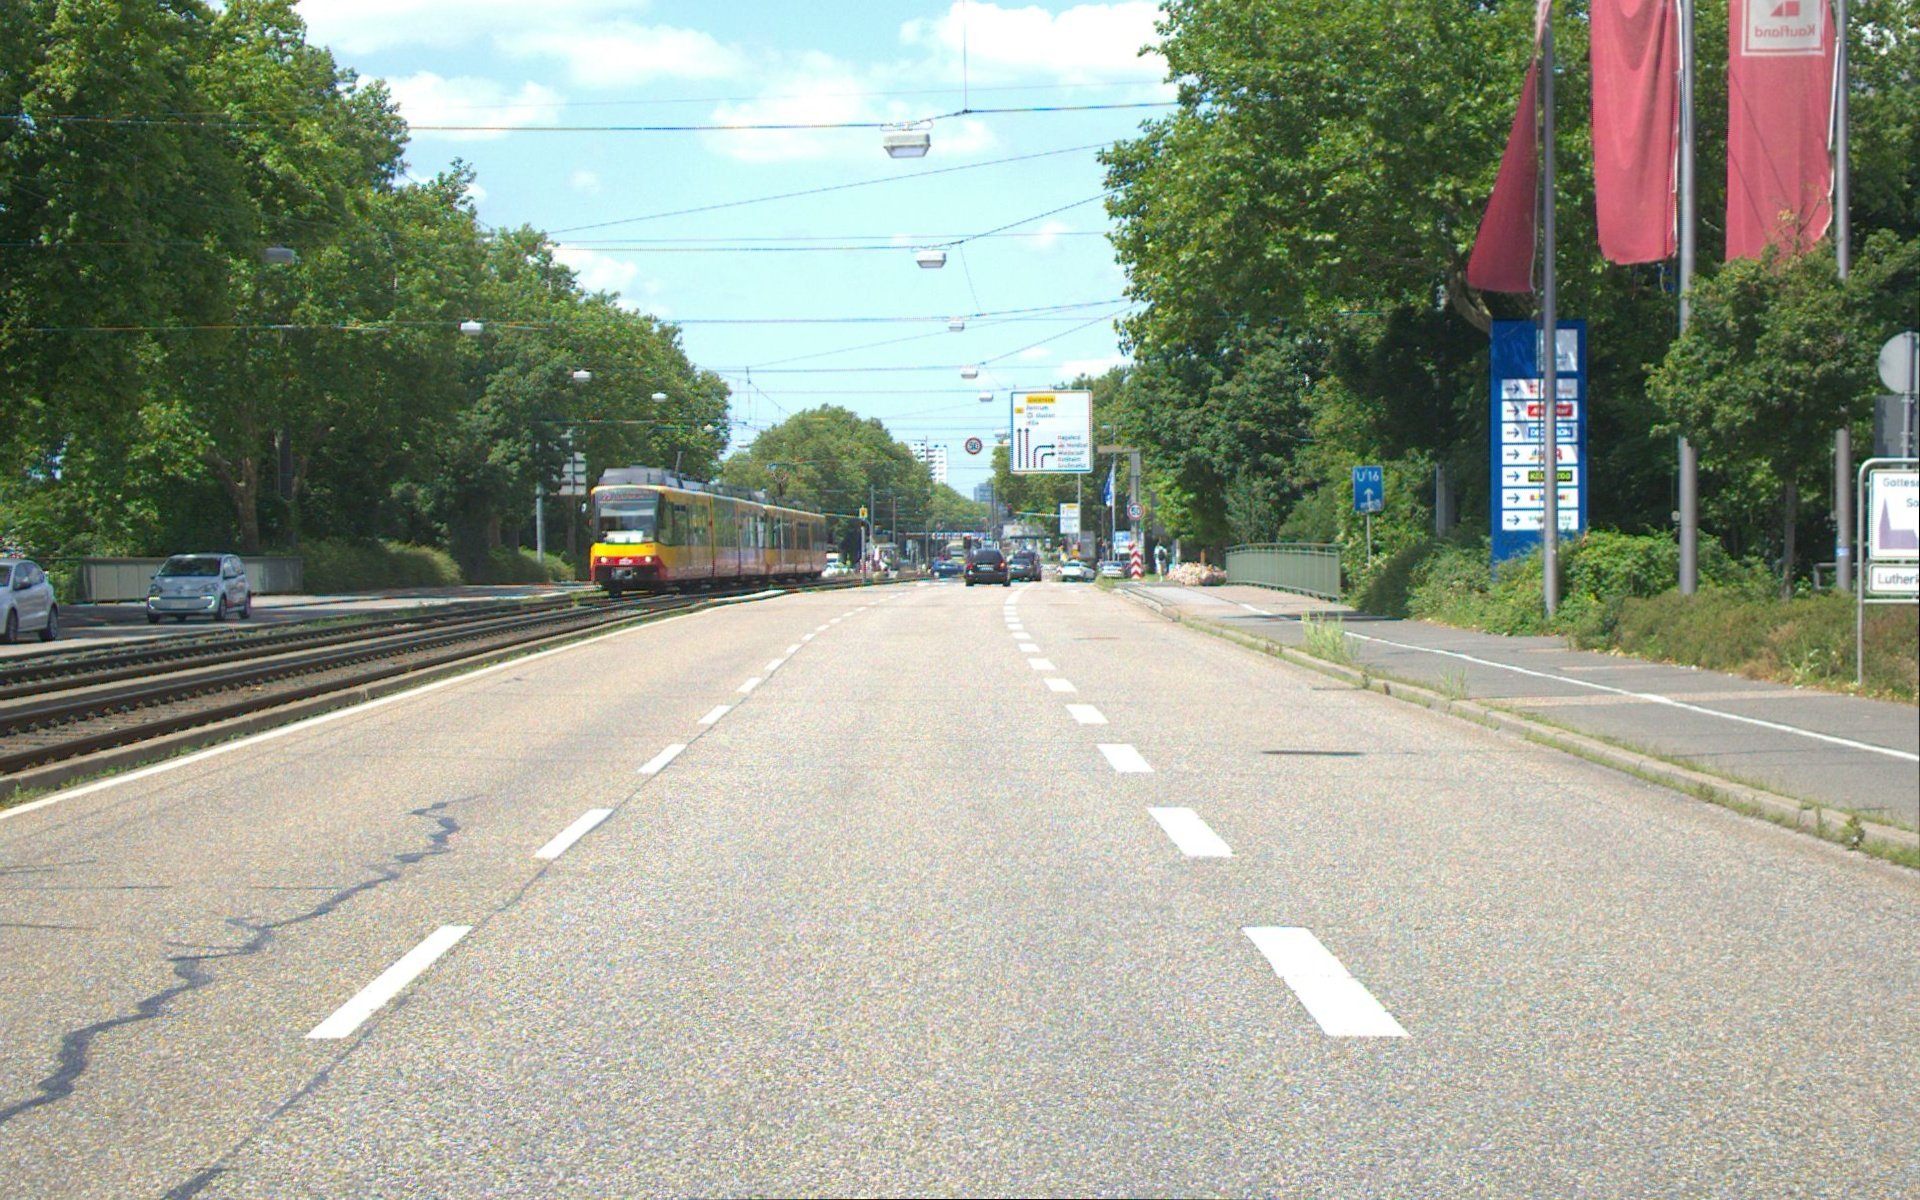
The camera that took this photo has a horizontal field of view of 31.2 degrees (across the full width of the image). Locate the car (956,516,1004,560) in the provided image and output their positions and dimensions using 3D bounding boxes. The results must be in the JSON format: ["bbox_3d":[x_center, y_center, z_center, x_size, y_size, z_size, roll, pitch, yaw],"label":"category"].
[{"bbox_3d":[0.845,-2.597,144.517,1.899,1.799,3.977,1,1,-1],"label":"car"}]

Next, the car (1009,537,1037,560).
[{"bbox_3d":[4.445,-3.648,242.642,1.876,1.534,3.777,1,1,-1],"label":"car"}]

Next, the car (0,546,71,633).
[{"bbox_3d":[-16.492,-0.189,58.469,1.636,1.417,4.127,-1,1,0],"label":"car"}]

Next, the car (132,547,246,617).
[{"bbox_3d":[-16.622,-0.409,74.254,1.636,1.431,3.722,-2,1,-1],"label":"car"}]

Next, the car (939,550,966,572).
[{"bbox_3d":[-0.567,-2.803,247.179,1.842,1.544,3.777,2,1,-1],"label":"car"}]

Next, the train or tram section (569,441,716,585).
[{"bbox_3d":[-10.014,-2.738,110.130,3.048,4.252,15.423,0,1,1],"label":"train or tram section"}]
